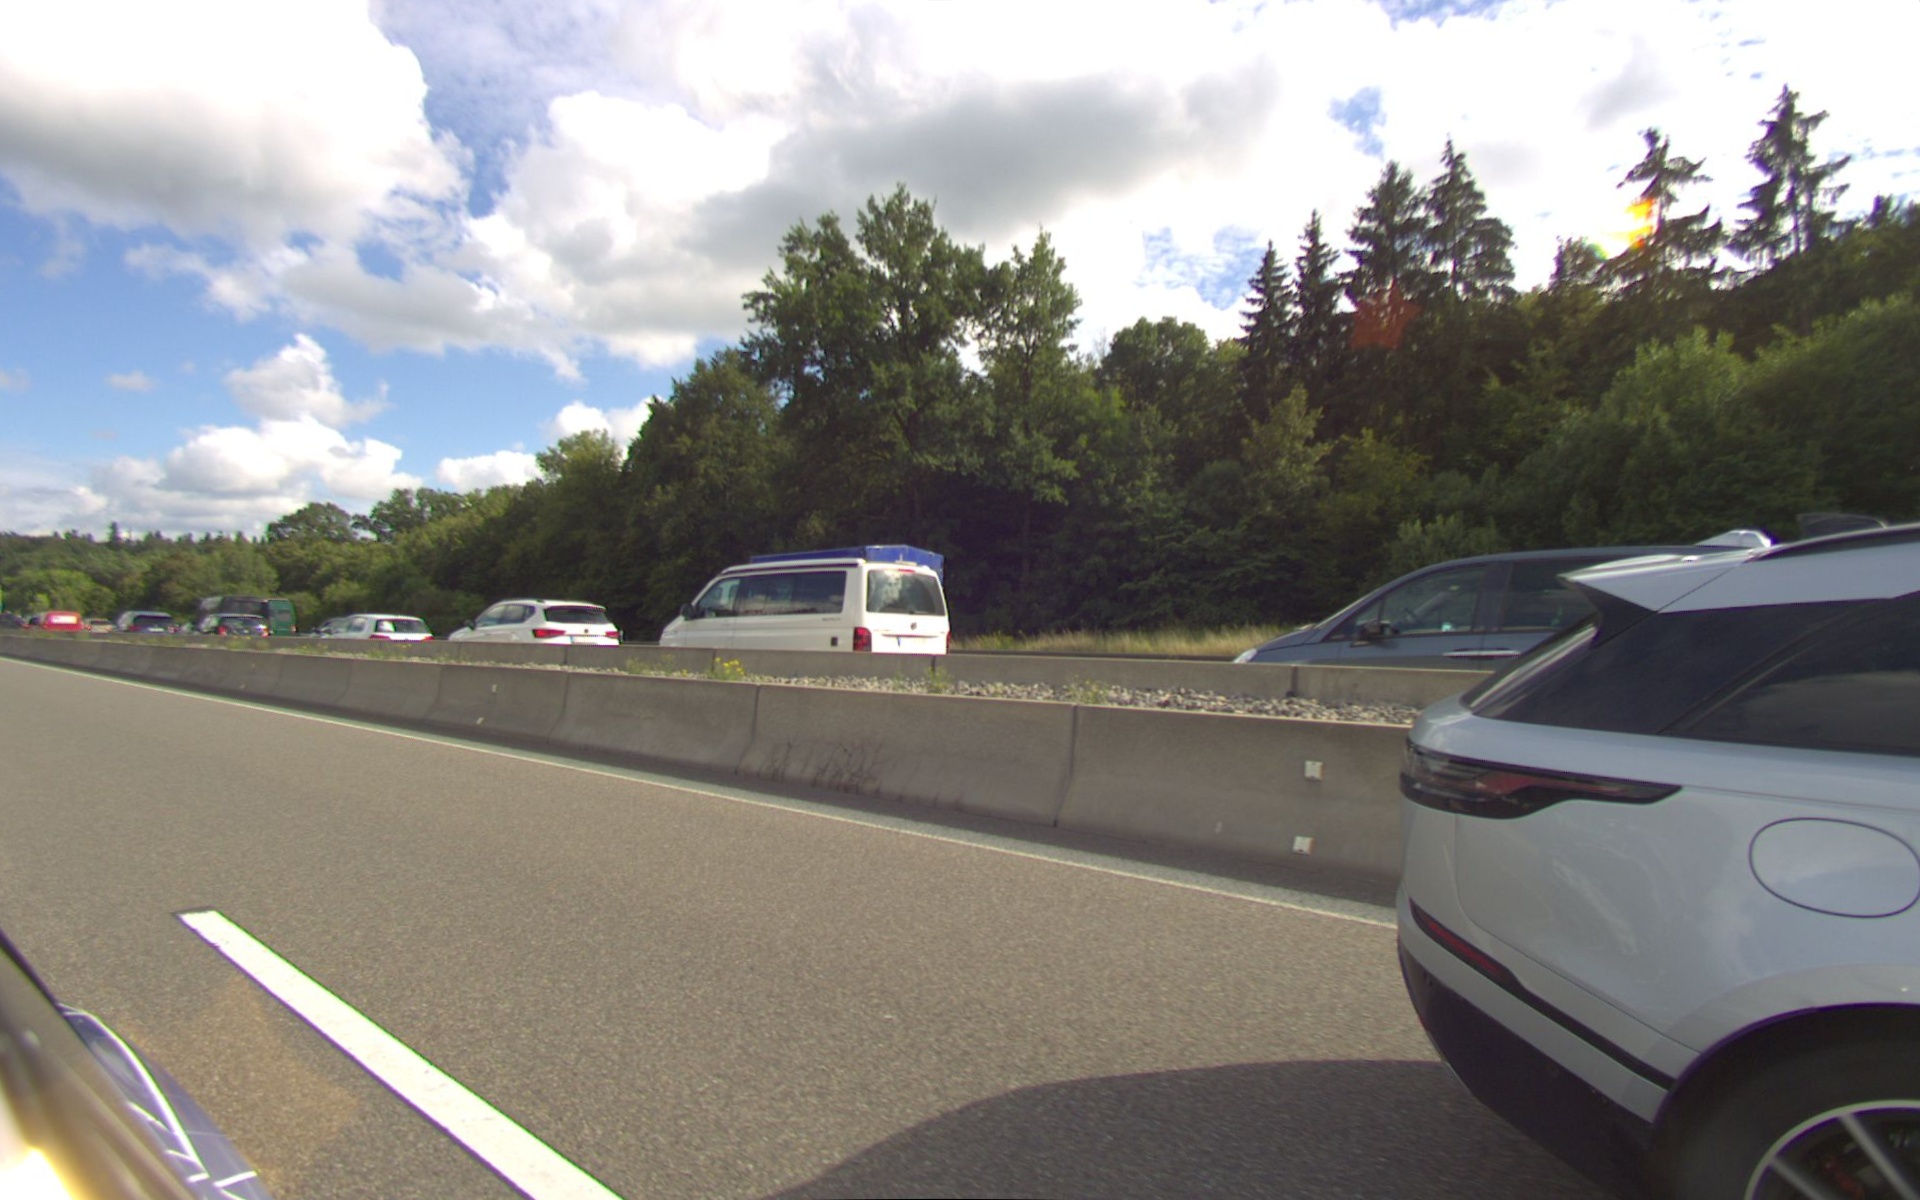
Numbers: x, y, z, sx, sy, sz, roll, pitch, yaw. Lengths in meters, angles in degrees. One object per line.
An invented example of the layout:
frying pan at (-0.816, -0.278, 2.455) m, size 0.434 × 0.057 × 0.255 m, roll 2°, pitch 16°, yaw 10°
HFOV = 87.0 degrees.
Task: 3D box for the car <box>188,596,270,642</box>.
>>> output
car at (-34.597, 0.904, 47.812) m, size 5.844 × 2.047 × 1.972 m, roll -1°, pitch 0°, yaw 42°

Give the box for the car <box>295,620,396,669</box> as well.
car at (-22.242, 1.562, 36.562) m, size 4.356 × 1.584 × 1.972 m, roll -1°, pitch 0°, yaw 42°

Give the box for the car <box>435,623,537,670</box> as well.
car at (-17.911, 1.708, 38.167) m, size 4.356 × 1.584 × 1.972 m, roll -1°, pitch 0°, yaw 42°

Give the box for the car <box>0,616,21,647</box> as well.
car at (-67.499, 2.186, 71.161) m, size 4.451 × 2.029 × 1.797 m, roll 1°, pitch 1°, yaw 42°

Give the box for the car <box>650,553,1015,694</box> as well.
car at (-1.950, 0.273, 13.959) m, size 5.328 × 1.584 × 1.972 m, roll -1°, pitch 1°, yaw 42°

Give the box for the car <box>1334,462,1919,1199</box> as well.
car at (3.334, 0.588, 1.208) m, size 5.102 × 1.619 × 1.880 m, roll 0°, pitch 0°, yaw 41°

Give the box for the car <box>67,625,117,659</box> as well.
car at (-59.128, 2.828, 68.925) m, size 4.458 × 2.029 × 1.972 m, roll 1°, pitch -3°, yaw 42°

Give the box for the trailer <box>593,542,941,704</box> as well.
trailer at (-4.358, 0.437, 21.111) m, size 8.534 × 2.807 × 2.256 m, roll -1°, pitch 0°, yaw 40°

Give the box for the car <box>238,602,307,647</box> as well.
car at (-38.400, 1.343, 56.487) m, size 5.328 × 2.391 × 1.972 m, roll -1°, pitch 0°, yaw 42°

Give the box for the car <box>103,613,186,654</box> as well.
car at (-34.550, 1.381, 42.823) m, size 5.206 × 1.584 × 1.972 m, roll -1°, pitch 0°, yaw 42°

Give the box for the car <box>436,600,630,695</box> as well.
car at (-8.248, 0.849, 19.351) m, size 4.356 × 1.584 × 1.747 m, roll -1°, pitch 0°, yaw 42°

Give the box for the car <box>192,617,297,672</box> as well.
car at (-22.460, 1.357, 31.734) m, size 3.510 × 1.584 × 1.972 m, roll -1°, pitch 0°, yaw 42°

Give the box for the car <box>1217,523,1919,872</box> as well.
car at (4.633, 0.529, 7.988) m, size 4.674 × 2.029 × 1.973 m, roll 1°, pitch 1°, yaw 41°

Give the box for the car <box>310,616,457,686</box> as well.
car at (-14.659, 1.224, 25.624) m, size 4.356 × 1.584 × 1.972 m, roll -1°, pitch 0°, yaw 42°

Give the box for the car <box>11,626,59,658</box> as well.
car at (-58.947, 2.642, 64.456) m, size 4.458 × 1.776 × 1.838 m, roll 0°, pitch 1°, yaw 42°

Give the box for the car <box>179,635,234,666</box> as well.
car at (-46.937, 3.095, 63.007) m, size 4.458 × 1.776 × 1.972 m, roll -1°, pitch 0°, yaw 42°

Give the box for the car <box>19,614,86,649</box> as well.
car at (-48.214, 1.644, 53.715) m, size 5.289 × 1.776 × 1.857 m, roll -1°, pitch 0°, yaw 39°
